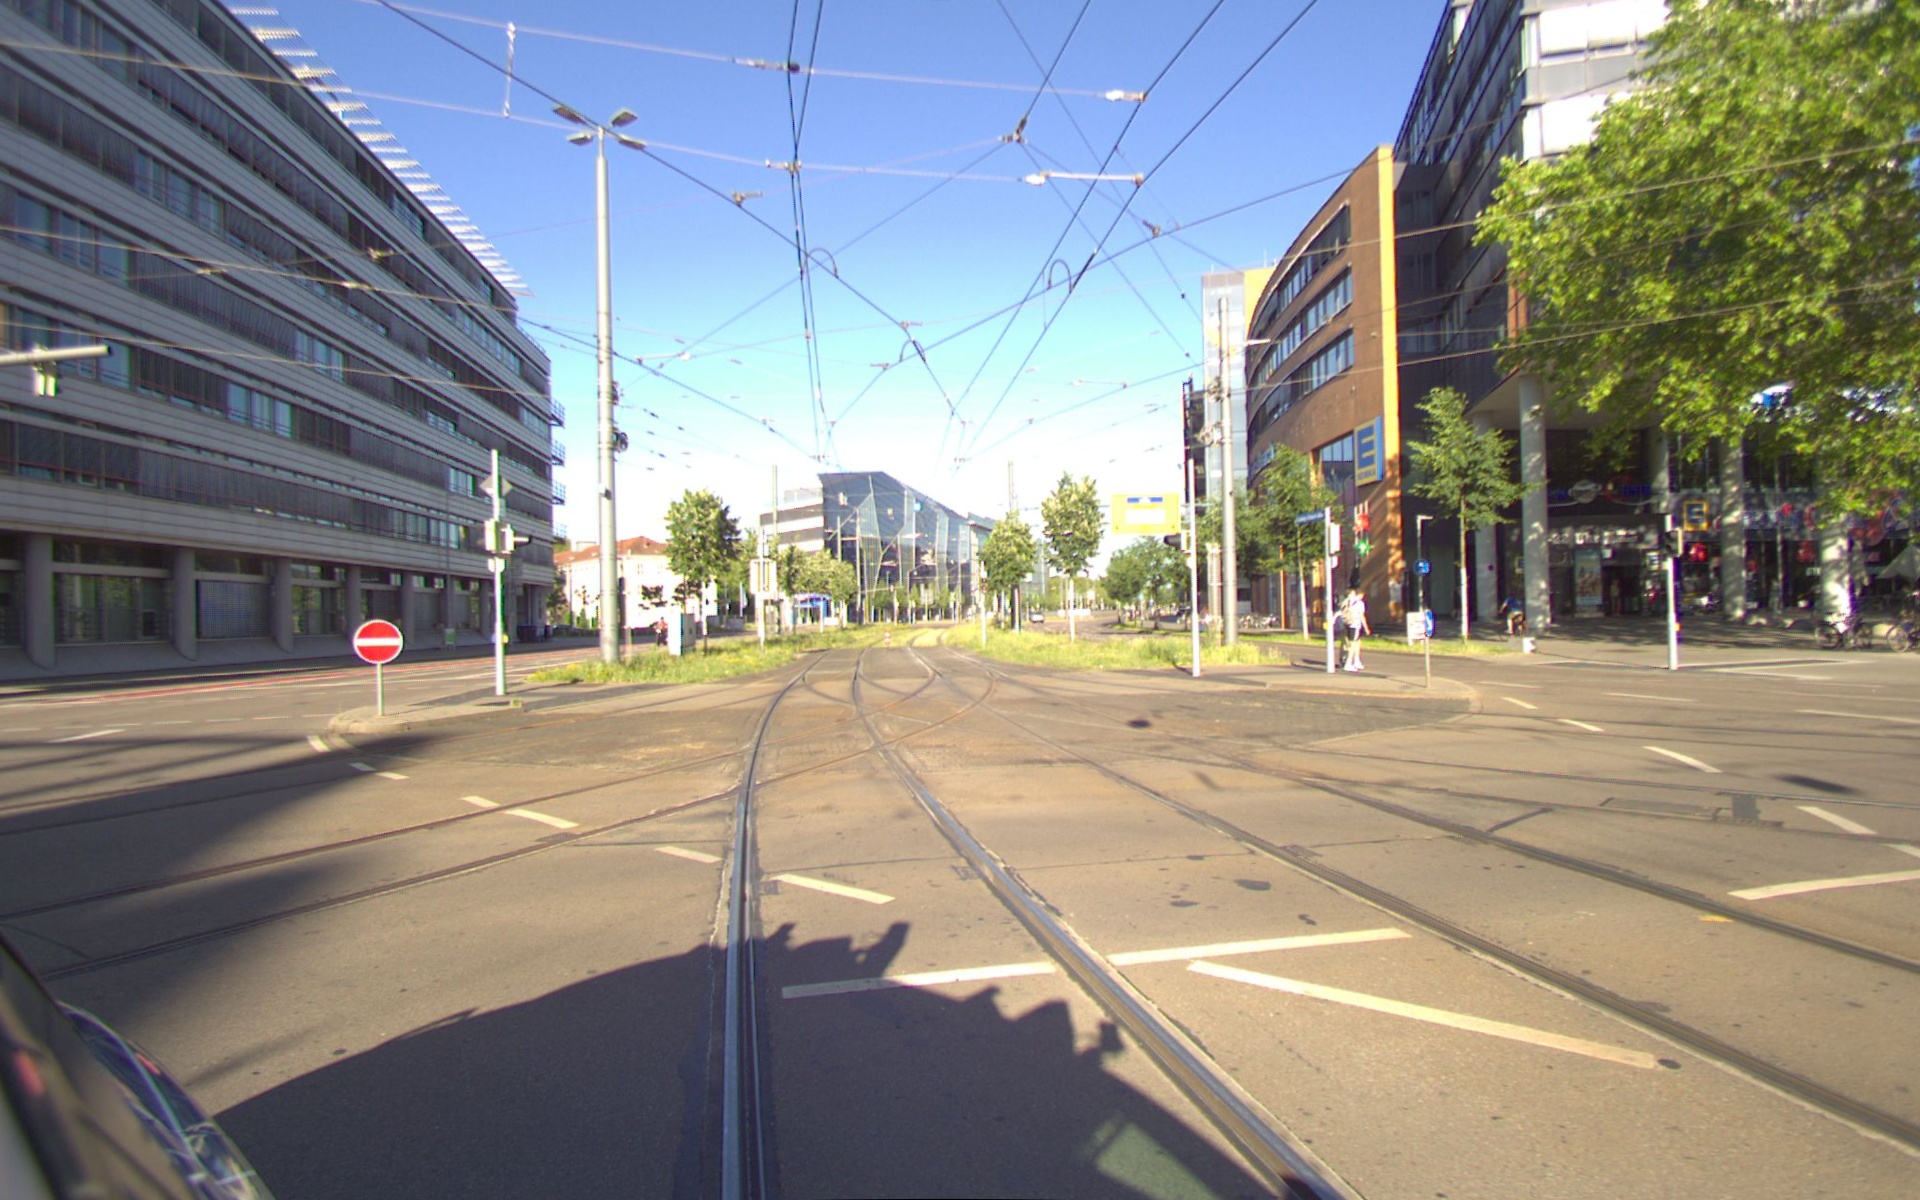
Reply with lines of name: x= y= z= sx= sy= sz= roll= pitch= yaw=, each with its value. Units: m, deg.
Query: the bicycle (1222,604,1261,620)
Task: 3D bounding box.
bicycle: x=21.125 y=0.936 z=75.921 sx=2.661 sy=1.112 sz=0.893 roll=-2 pitch=-2 yaw=9

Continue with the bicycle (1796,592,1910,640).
bicycle: x=22.642 y=0.407 z=25.670 sx=2.333 sy=1.137 sz=0.599 roll=-1 pitch=-2 yaw=-1

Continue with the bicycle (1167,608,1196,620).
bicycle: x=21.477 y=1.396 z=98.066 sx=2.661 sy=1.112 sz=0.893 roll=-2 pitch=-2 yaw=9

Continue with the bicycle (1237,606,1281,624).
bicycle: x=19.502 y=1.000 z=66.056 sx=2.661 sy=1.112 sz=0.893 roll=-2 pitch=-2 yaw=9

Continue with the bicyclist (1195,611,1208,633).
bicyclist: x=17.161 y=1.549 z=71.978 sx=0.681 sy=1.541 sz=0.703 roll=-2 pitch=-1 yaw=-3

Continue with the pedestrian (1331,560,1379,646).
pedestrian: x=8.815 y=0.063 z=22.621 sx=0.722 sy=1.884 sz=0.674 roll=-1 pitch=-1 yaw=-4

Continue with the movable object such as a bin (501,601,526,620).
movable object such as a bin: x=-31.984 y=0.757 z=72.491 sx=1.310 sy=1.311 sz=1.174 roll=-2 pitch=-1 yaw=-2

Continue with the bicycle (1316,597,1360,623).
bicycle: x=16.841 y=0.476 z=45.141 sx=0.883 sy=1.112 sz=2.692 roll=-1 pitch=-1 yaw=-1

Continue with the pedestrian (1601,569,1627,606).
pedestrian: x=30.087 y=-0.568 z=46.538 sx=0.689 sy=1.665 sz=0.705 roll=-2 pitch=0 yaw=2

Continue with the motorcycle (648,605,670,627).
motorcycle: x=-17.845 y=0.941 z=60.059 sx=0.809 sy=1.230 sz=2.258 roll=-1 pitch=-1 yaw=-5

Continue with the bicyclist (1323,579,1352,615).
bicyclist: x=16.826 y=-0.121 z=45.160 sx=0.883 sy=1.560 sz=0.939 roll=-1 pitch=-2 yaw=0

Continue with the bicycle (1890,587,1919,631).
bicycle: x=25.960 y=0.206 z=26.671 sx=2.332 sy=1.137 sz=0.599 roll=-1 pitch=-2 yaw=-2

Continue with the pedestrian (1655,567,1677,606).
pedestrian: x=30.672 y=-0.566 z=43.972 sx=0.705 sy=1.665 sz=0.690 roll=-2 pitch=-1 yaw=38

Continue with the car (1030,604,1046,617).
car: x=9.728 y=1.338 z=126.037 sx=1.605 sy=1.539 sz=4.802 roll=-2 pitch=-1 yaw=0

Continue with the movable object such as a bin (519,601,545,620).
movable object such as a bin: x=-30.659 y=0.741 z=72.497 sx=1.310 sy=1.311 sz=1.174 roll=-2 pitch=-1 yaw=-2

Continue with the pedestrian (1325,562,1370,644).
pedestrian: x=9.127 y=0.072 z=23.871 sx=0.723 sy=1.884 sz=0.699 roll=-1 pitch=-1 yaw=-2

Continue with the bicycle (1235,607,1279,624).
bicycle: x=19.649 y=1.032 z=67.089 sx=2.661 sy=1.112 sz=0.893 roll=-2 pitch=-2 yaw=9

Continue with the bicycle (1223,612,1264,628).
bicycle: x=20.443 y=1.461 z=73.020 sx=2.661 sy=1.112 sz=0.893 roll=-2 pitch=-2 yaw=9

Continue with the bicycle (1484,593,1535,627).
bicycle: x=19.321 y=0.339 z=35.602 sx=0.684 sy=1.145 sz=1.852 roll=-1 pitch=-1 yaw=-2

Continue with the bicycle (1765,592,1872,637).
bicycle: x=23.076 y=0.395 z=27.212 sx=2.333 sy=1.137 sz=0.599 roll=-1 pitch=-2 yaw=-1

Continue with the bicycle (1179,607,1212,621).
bicycle: x=20.232 y=1.177 z=86.926 sx=2.661 sy=1.112 sz=0.893 roll=-2 pitch=-2 yaw=9

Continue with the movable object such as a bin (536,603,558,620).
movable object such as a bin: x=-31.469 y=0.873 z=77.099 sx=1.157 sy=1.311 sz=1.329 roll=-2 pitch=-1 yaw=-1

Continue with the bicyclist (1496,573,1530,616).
bicyclist: x=19.319 y=-0.171 z=35.364 sx=0.684 sy=1.472 sz=0.754 roll=-1 pitch=-1 yaw=-2

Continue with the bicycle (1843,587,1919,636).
bicycle: x=22.789 y=0.268 z=24.469 sx=2.333 sy=1.137 sz=0.599 roll=-1 pitch=-2 yaw=-1

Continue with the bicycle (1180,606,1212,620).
bicycle: x=20.671 y=1.160 z=88.814 sx=2.661 sy=1.112 sz=0.893 roll=-2 pitch=-2 yaw=9

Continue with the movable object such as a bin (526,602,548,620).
movable object such as a bin: x=-31.648 y=0.836 z=75.751 sx=1.157 sy=1.311 sz=1.329 roll=-2 pitch=-1 yaw=-1

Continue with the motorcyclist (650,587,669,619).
motorcyclist: x=-17.859 y=0.196 z=60.153 sx=0.809 sy=1.871 sz=1.113 roll=-1 pitch=-1 yaw=-4

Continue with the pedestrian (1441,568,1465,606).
pedestrian: x=22.783 y=-0.575 z=46.774 sx=0.723 sy=1.718 sz=0.699 roll=-1 pitch=-1 yaw=-2

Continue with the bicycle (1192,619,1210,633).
bicycle: x=17.173 y=1.828 z=72.046 sx=0.681 sy=0.957 sz=2.068 roll=-2 pitch=-1 yaw=-3

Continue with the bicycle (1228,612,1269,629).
bicycle: x=20.436 y=1.458 z=71.680 sx=2.661 sy=1.112 sz=0.893 roll=-2 pitch=-2 yaw=9

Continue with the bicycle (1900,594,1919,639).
bicycle: x=25.472 y=0.397 z=25.861 sx=2.332 sy=1.137 sz=0.599 roll=-1 pitch=-2 yaw=-2
